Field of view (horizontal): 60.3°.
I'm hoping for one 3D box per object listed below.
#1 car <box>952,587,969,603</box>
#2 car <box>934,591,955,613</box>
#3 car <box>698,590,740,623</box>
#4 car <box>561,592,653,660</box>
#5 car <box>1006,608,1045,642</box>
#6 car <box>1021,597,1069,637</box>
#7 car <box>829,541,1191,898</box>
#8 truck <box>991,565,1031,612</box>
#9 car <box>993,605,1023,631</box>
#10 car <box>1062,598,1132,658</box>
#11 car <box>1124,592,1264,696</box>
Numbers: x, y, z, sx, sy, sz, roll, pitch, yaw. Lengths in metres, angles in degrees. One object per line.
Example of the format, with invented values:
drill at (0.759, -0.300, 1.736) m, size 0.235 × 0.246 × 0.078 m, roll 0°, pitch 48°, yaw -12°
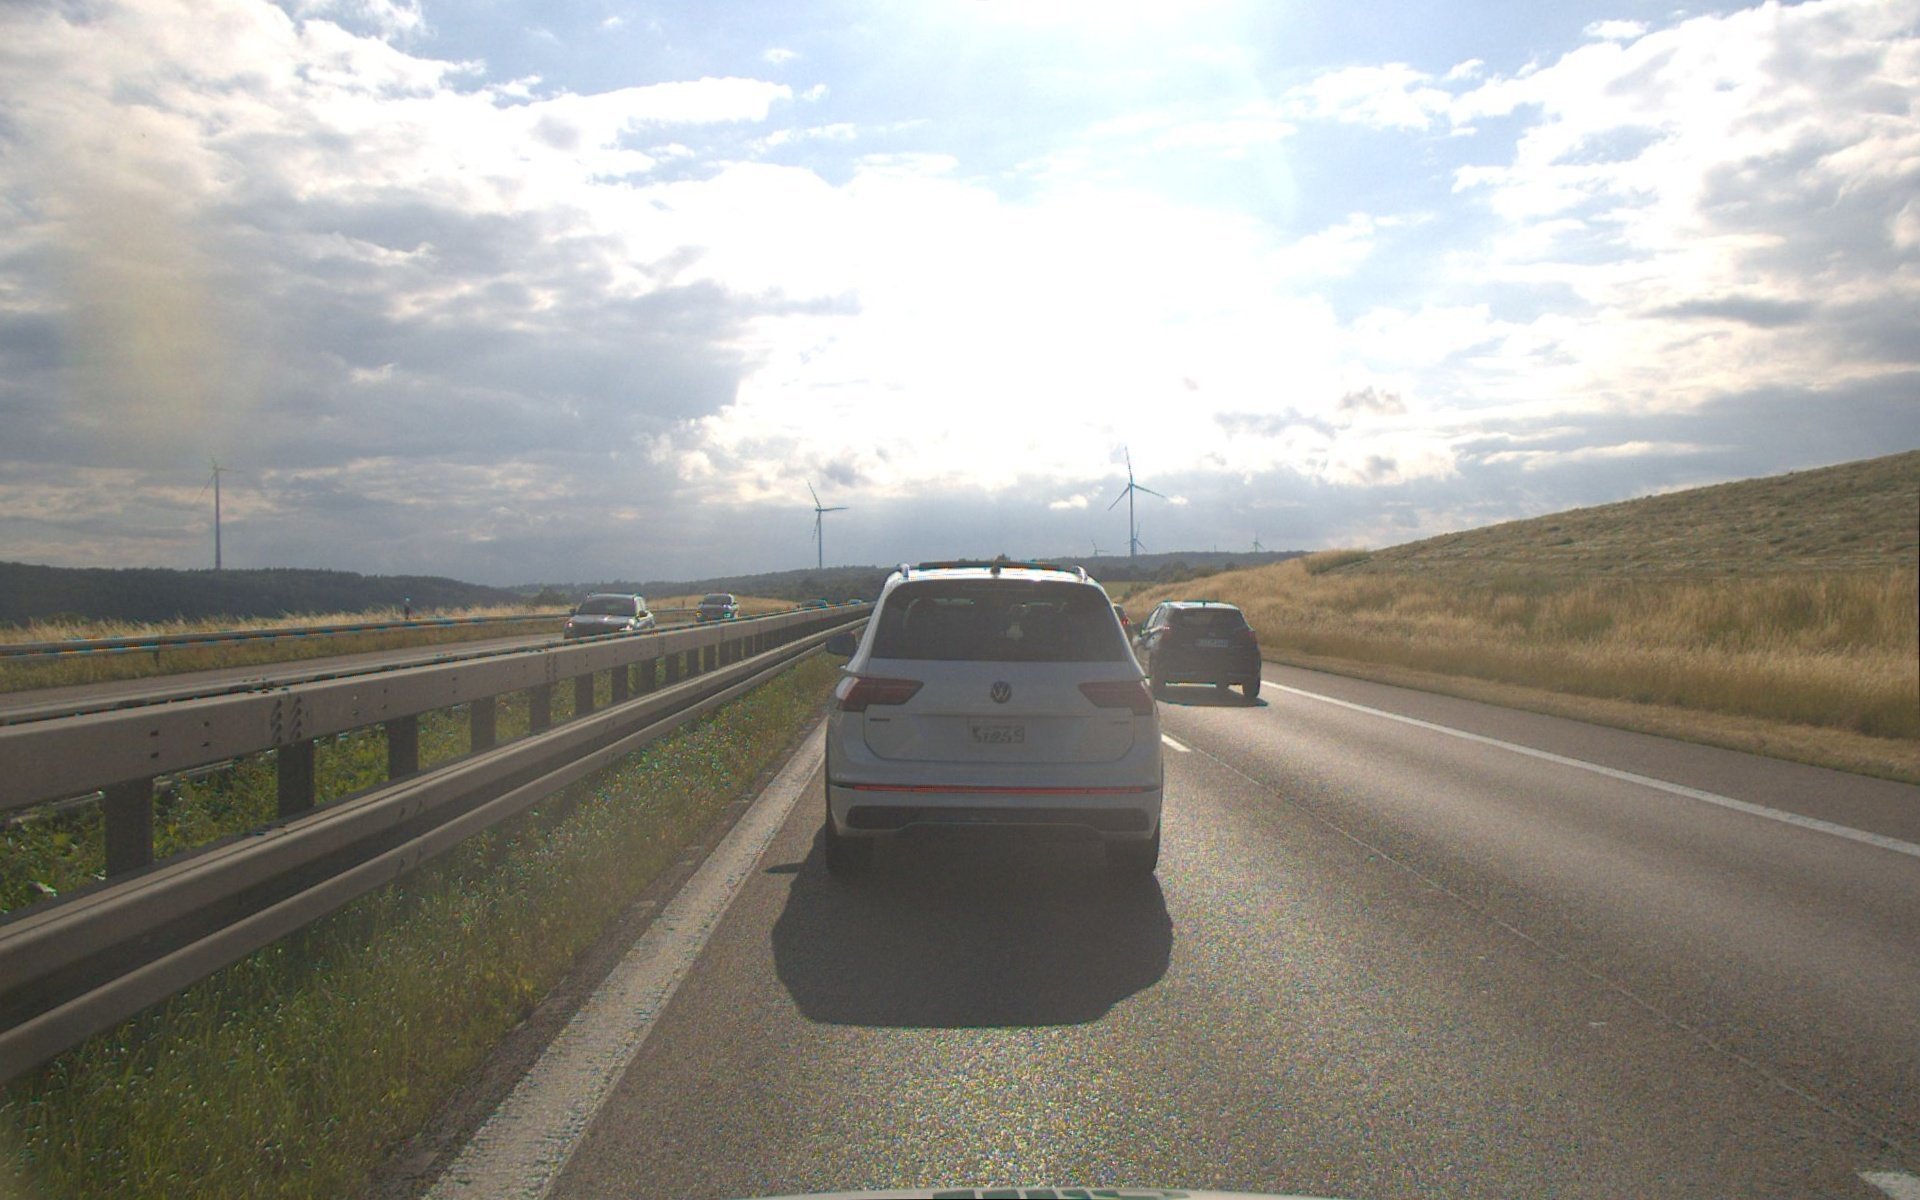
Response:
car at (0.037, -0.508, 164.927) m, size 1.669 × 1.573 × 3.999 m, roll 1°, pitch 0°, yaw -1°
car at (-1.282, 0.165, 134.797) m, size 1.669 × 1.679 × 3.999 m, roll 1°, pitch 0°, yaw -1°
car at (-11.960, 0.319, 82.157) m, size 1.583 × 1.547 × 3.998 m, roll 1°, pitch 0°, yaw -2°
car at (-8.904, 0.629, 41.987) m, size 1.583 × 1.613 × 4.063 m, roll 1°, pitch 0°, yaw -2°
car at (3.162, 1.186, 80.710) m, size 1.669 × 1.573 × 3.999 m, roll 1°, pitch 0°, yaw -1°
car at (3.458, 0.683, 67.994) m, size 1.669 × 1.573 × 3.999 m, roll 1°, pitch 0°, yaw -1°
car at (0.214, 0.590, 10.025) m, size 1.734 × 1.705 × 3.999 m, roll 1°, pitch 0°, yaw -1°
truck at (4.138, -0.970, 137.334) m, size 3.118 × 3.656 × 11.132 m, roll 1°, pitch 0°, yaw 1°
car at (2.978, 1.105, 102.882) m, size 1.669 × 1.573 × 3.999 m, roll 1°, pitch 0°, yaw -1°
car at (4.035, 0.804, 49.192) m, size 1.669 × 1.679 × 3.999 m, roll 1°, pitch 0°, yaw -1°
car at (3.796, 0.690, 27.386) m, size 1.669 × 1.573 × 3.999 m, roll 1°, pitch 0°, yaw -1°
